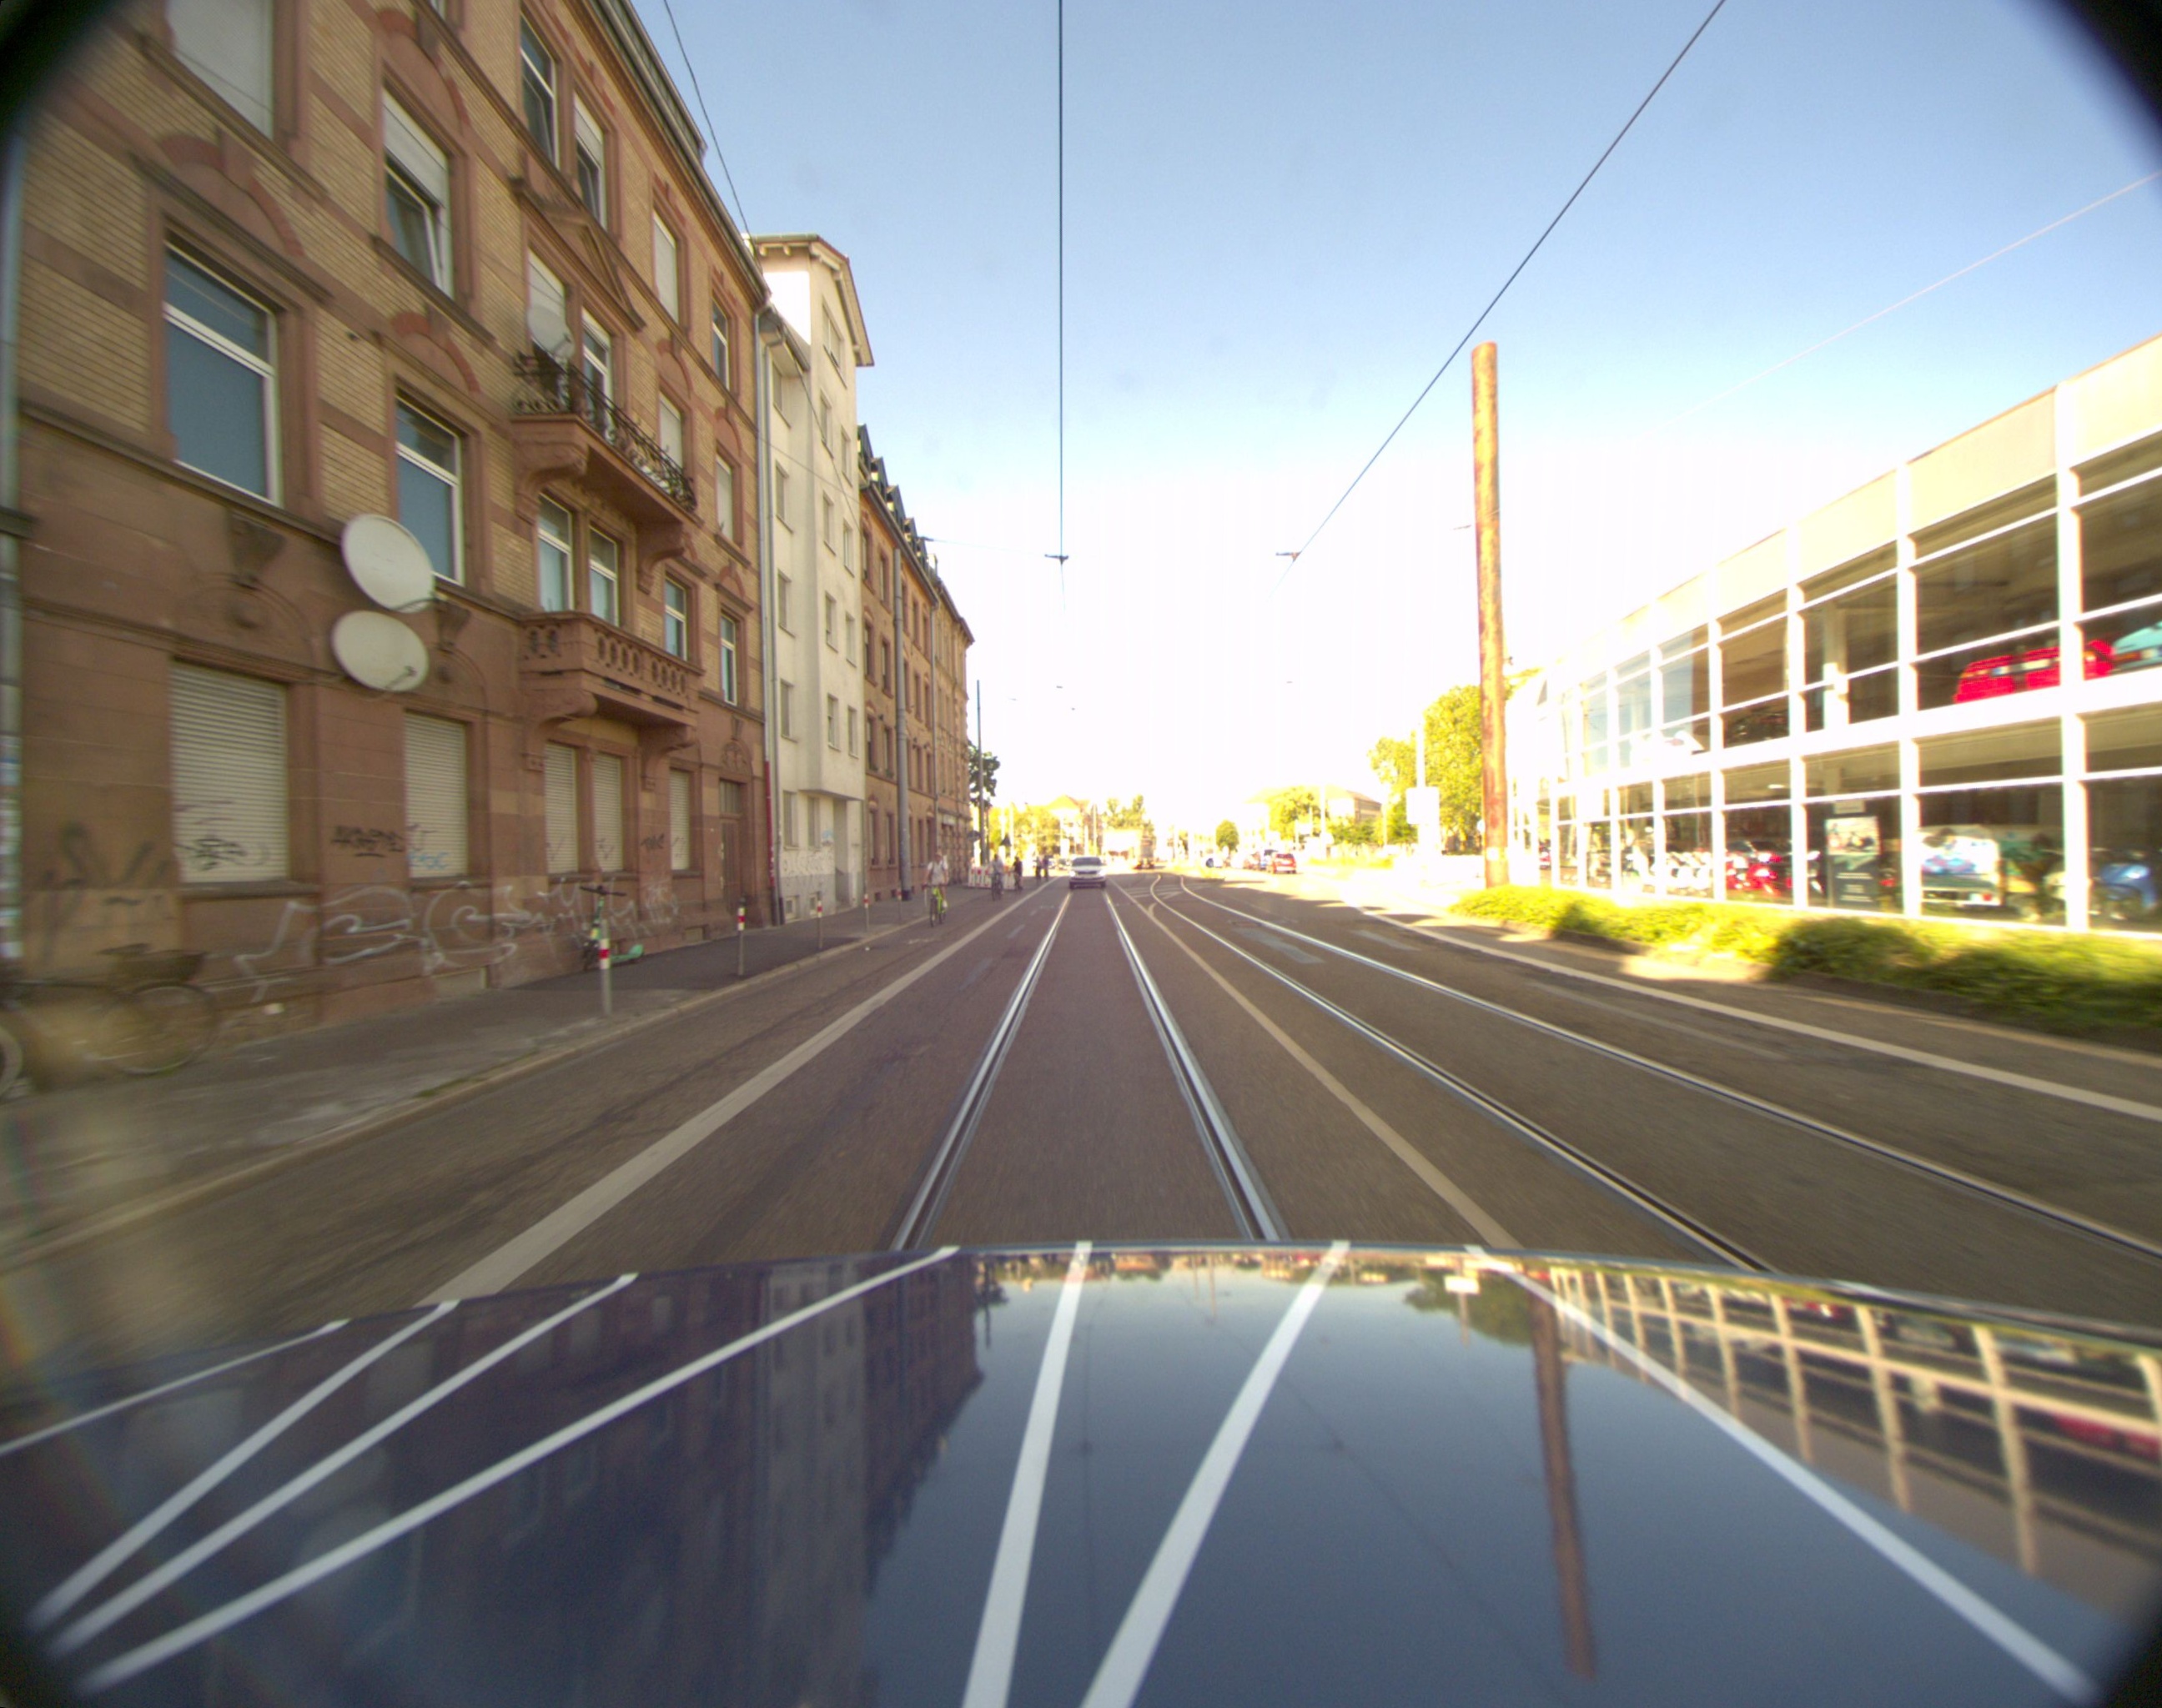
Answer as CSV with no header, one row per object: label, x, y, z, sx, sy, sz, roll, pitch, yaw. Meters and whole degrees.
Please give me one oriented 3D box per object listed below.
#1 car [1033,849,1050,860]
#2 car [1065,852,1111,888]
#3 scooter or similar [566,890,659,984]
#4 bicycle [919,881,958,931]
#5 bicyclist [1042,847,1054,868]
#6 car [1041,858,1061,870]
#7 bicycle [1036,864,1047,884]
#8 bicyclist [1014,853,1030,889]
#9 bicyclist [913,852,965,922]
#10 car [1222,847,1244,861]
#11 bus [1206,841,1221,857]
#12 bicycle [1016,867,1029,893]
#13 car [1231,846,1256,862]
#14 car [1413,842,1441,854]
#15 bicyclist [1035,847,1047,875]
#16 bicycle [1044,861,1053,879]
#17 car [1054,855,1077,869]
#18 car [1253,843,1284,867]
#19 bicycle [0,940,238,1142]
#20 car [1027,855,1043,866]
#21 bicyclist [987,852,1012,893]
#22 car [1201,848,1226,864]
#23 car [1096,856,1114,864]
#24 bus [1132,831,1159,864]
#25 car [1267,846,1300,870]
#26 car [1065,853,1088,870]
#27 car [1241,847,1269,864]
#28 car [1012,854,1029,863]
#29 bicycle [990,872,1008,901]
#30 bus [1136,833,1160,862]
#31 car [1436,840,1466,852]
car,-9.402,0.131,181.899,2.246,2.665,5.296,-4,1,-23
car,0.438,0.776,39.004,1.868,1.635,4.398,-3,0,6
scooter or similar,-6.868,1.176,11.219,0.407,1.204,1.480,-1,1,1
bicycle,-3.593,1.288,19.304,0.533,1.111,1.934,-4,0,1
bicyclist,-2.308,0.209,52.926,0.675,1.413,1.036,-4,1,0
car,-4.292,1.415,109.490,1.888,1.557,4.007,-4,1,-16
bicycle,-2.341,1.169,45.237,0.533,1.111,1.934,-3,0,0
bicyclist,-2.745,0.783,35.248,0.625,1.604,0.980,-4,1,-5
bicyclist,-3.576,0.825,19.214,0.681,1.674,1.121,-3,1,22
car,16.812,-0.024,84.189,1.653,1.470,3.971,-1,1,2
bus,30.518,-1.188,174.565,2.846,3.104,11.825,-3,2,12
bicycle,-2.724,1.197,35.265,0.533,1.111,1.932,-2,1,-6
car,16.830,-0.027,78.735,1.807,1.424,4.000,-4,1,2
car,55.990,-0.999,123.044,3.992,1.742,2.002,-3,1,19
bicyclist,-2.387,0.405,45.496,0.551,1.604,0.953,-4,1,0
bicycle,-2.243,1.132,53.048,0.533,1.152,1.865,-3,1,-1
car,-1.944,1.000,94.758,1.888,1.557,4.007,-4,1,-16
car,16.070,0.067,65.145,1.807,1.922,4.165,-1,1,3
bicycle,-7.013,1.259,5.116,0.410,1.115,1.898,0,1,5
car,-7.594,1.079,125.068,1.888,1.557,4.008,-4,1,-12
bicyclist,-3.201,0.728,29.987,0.784,1.584,0.886,-2,1,2
car,13.833,0.174,79.568,1.807,1.424,4.540,-4,1,2
car,4.700,1.095,148.959,1.915,1.449,4.592,-3,1,-18
bus,7.772,-0.800,90.557,2.847,3.569,11.275,-2,0,6
car,15.449,0.256,58.123,1.803,1.709,4.418,-1,1,6
car,-0.538,0.787,80.313,1.887,1.621,4.010,-4,1,-7
car,16.432,0.113,72.028,1.807,1.569,4.164,-1,1,2
car,-11.639,0.849,145.800,1.924,1.450,4.660,-4,1,-21
bicycle,-3.223,1.258,30.020,0.387,1.062,1.934,-2,0,3
bus,9.013,-0.902,101.510,2.847,3.569,10.730,-2,0,6
car,51.547,-1.166,105.890,4.006,1.490,1.739,-2,0,-30
